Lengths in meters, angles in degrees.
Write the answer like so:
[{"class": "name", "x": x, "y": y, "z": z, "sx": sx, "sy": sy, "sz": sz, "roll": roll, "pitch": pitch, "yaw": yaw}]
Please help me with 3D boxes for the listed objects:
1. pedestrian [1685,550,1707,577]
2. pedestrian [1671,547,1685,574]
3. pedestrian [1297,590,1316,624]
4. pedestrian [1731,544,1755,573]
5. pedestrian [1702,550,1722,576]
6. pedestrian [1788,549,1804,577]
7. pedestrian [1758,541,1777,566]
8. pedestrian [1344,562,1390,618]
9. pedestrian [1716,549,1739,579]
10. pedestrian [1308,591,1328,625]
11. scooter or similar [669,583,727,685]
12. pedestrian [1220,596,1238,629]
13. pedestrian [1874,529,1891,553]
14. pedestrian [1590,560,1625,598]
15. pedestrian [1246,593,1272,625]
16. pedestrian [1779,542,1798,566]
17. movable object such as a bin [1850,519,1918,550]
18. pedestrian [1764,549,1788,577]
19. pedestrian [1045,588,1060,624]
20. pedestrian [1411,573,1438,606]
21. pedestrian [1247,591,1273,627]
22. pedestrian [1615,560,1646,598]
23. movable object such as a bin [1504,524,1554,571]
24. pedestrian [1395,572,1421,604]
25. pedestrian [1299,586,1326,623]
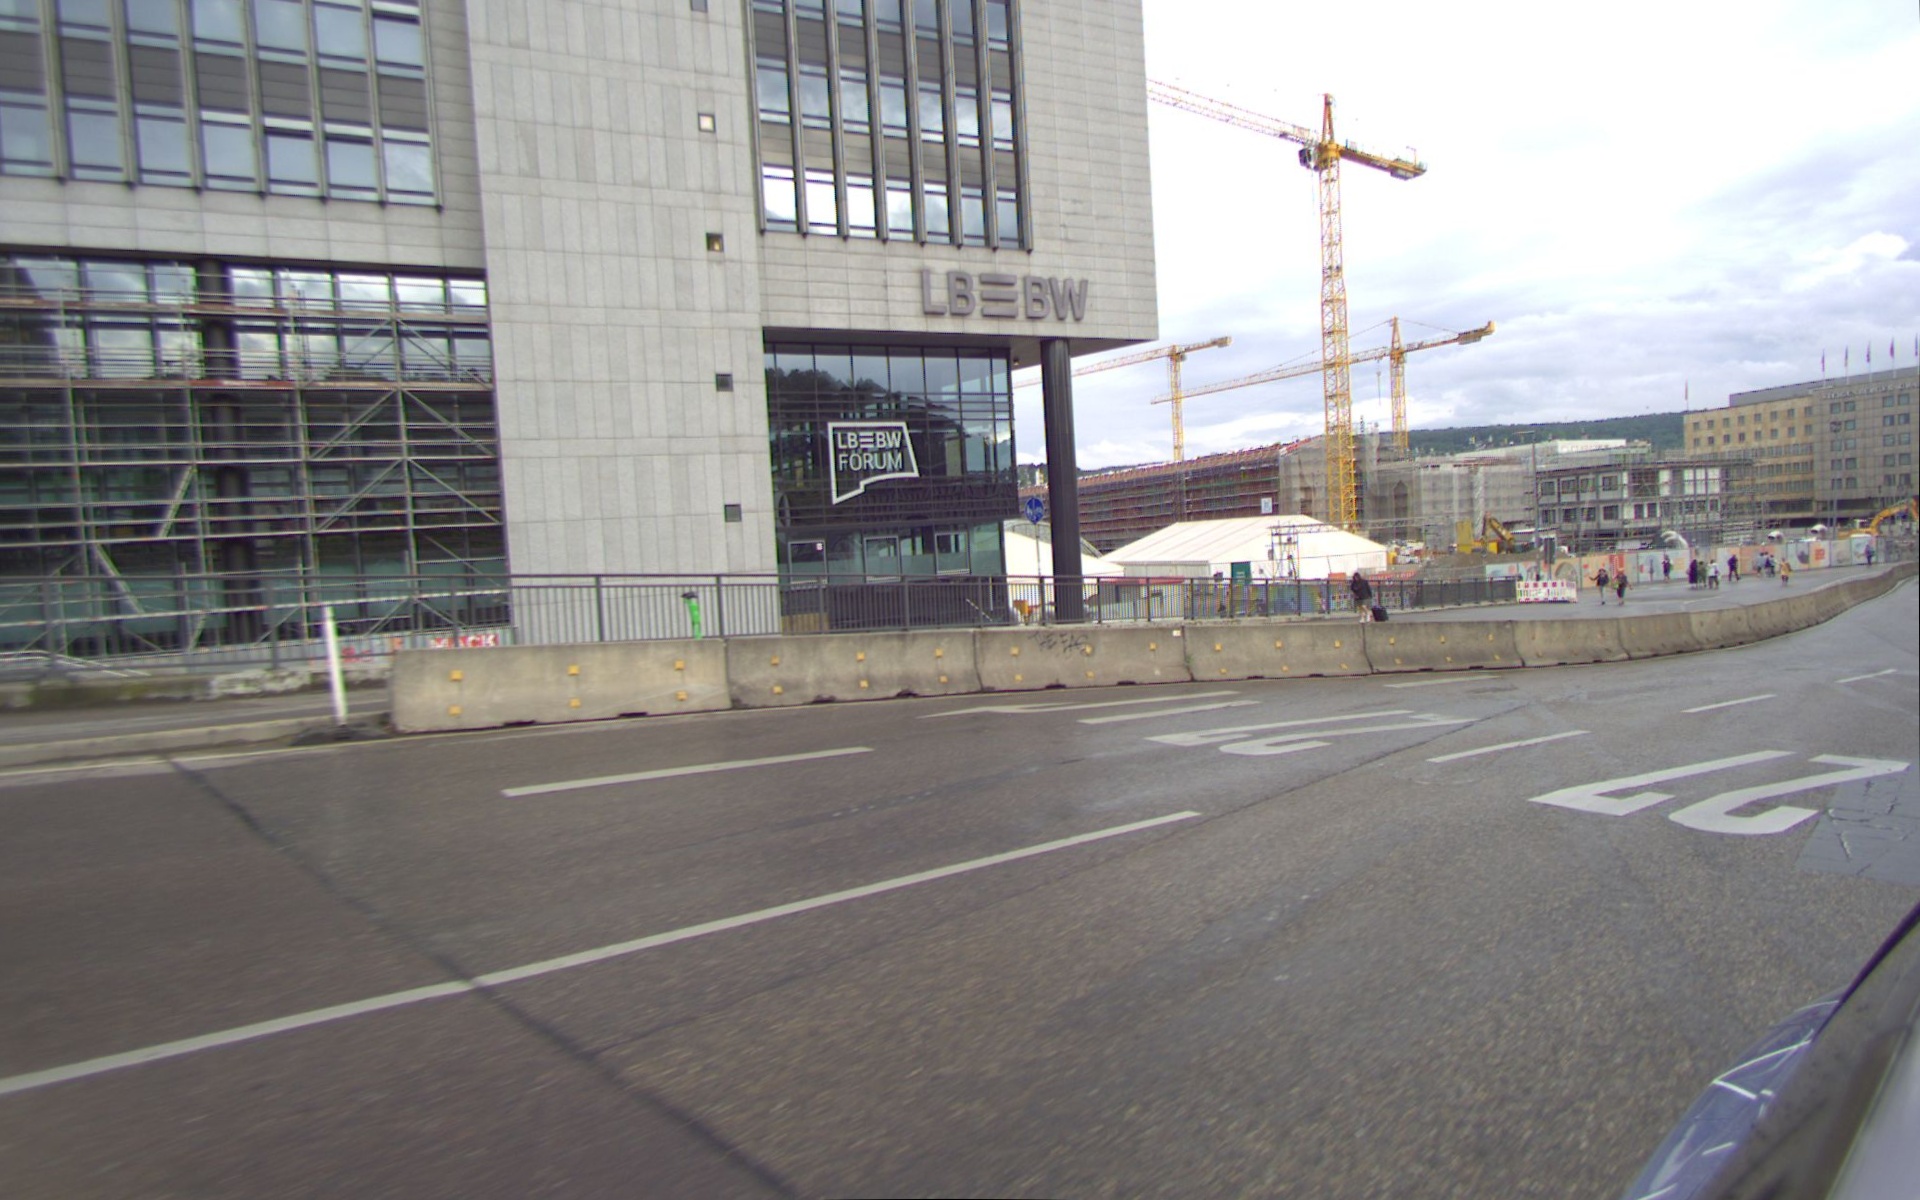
[{"class": "pedestrian", "x": 45.316, "y": -2.252, "z": 62.313, "sx": 0.988, "sy": 1.572, "sz": 0.718, "roll": -4, "pitch": 2, "yaw": -25}, {"class": "pedestrian", "x": 48.035, "y": -2.665, "z": 67.741, "sx": 0.485, "sy": 1.769, "sz": 0.569, "roll": -3, "pitch": 2, "yaw": -26}, {"class": "pedestrian", "x": 17.641, "y": 0.362, "z": 51.468, "sx": 0.738, "sy": 1.656, "sz": 0.587, "roll": -2, "pitch": 2, "yaw": 4}, {"class": "pedestrian", "x": 51.150, "y": -2.723, "z": 66.149, "sx": 0.988, "sy": 1.839, "sz": 0.870, "roll": -3, "pitch": 2, "yaw": -25}, {"class": "pedestrian", "x": 45.863, "y": -2.258, "z": 61.731, "sx": 0.867, "sy": 1.541, "sz": 0.612, "roll": -3, "pitch": 2, "yaw": -25}, {"class": "pedestrian", "x": 50.383, "y": -2.227, "z": 60.978, "sx": 0.893, "sy": 1.652, "sz": 0.647, "roll": -5, "pitch": 3, "yaw": -44}, {"class": "pedestrian", "x": 56.333, "y": -3.233, "z": 70.607, "sx": 0.750, "sy": 1.675, "sz": 0.650, "roll": -3, "pitch": 2, "yaw": -8}, {"class": "pedestrian", "x": 12.576, "y": -0.325, "z": 31.278, "sx": 1.038, "sy": 1.672, "sz": 0.733, "roll": -2, "pitch": 2, "yaw": -17}, {"class": "pedestrian", "x": 46.505, "y": -2.189, "z": 61.330, "sx": 0.873, "sy": 1.743, "sz": 0.781, "roll": -3, "pitch": 2, "yaw": -25}, {"class": "pedestrian", "x": 17.907, "y": 0.382, "z": 50.572, "sx": 0.757, "sy": 1.656, "sz": 0.604, "roll": -2, "pitch": 2, "yaw": 4}, {"class": "scooter or similar", "x": -3.150, "y": 0.399, "z": 12.164, "sx": 0.561, "sy": 1.177, "sz": 0.350, "roll": -3, "pitch": 2, "yaw": -29}, {"class": "pedestrian", "x": 13.724, "y": 0.623, "z": 51.612, "sx": 0.554, "sy": 1.635, "sz": 0.708, "roll": -3, "pitch": 2, "yaw": -11}, {"class": "pedestrian", "x": 69.001, "y": -4.405, "z": 75.689, "sx": 0.673, "sy": 1.726, "sz": 0.748, "roll": -4, "pitch": 4, "yaw": -30}, {"class": "pedestrian", "x": 28.689, "y": -0.923, "z": 44.826, "sx": 0.932, "sy": 1.612, "sz": 0.865, "roll": -3, "pitch": 2, "yaw": -16}, {"class": "pedestrian", "x": 15.930, "y": 0.468, "z": 53.874, "sx": 0.987, "sy": 1.656, "sz": 0.871, "roll": -3, "pitch": 2, "yaw": -15}, {"class": "pedestrian", "x": 57.092, "y": -3.157, "z": 69.716, "sx": 0.750, "sy": 1.572, "sz": 0.650, "roll": -3, "pitch": 2, "yaw": -8}, {"class": "movable object such as a bin", "x": 83.224, "y": -5.860, "z": 91.190, "sx": 4.063, "sy": 2.566, "sz": 1.995, "roll": -2, "pitch": 2, "yaw": 12}, {"class": "pedestrian", "x": 55.269, "y": -2.511, "z": 68.537, "sx": 0.913, "sy": 1.871, "sz": 0.822, "roll": -3, "pitch": 2, "yaw": -8}, {"class": "pedestrian", "x": 4.898, "y": 0.314, "z": 53.568, "sx": 0.632, "sy": 1.837, "sz": 0.753, "roll": -2, "pitch": 2, "yaw": 15}, {"class": "pedestrian", "x": 25.653, "y": -0.581, "z": 55.871, "sx": 0.987, "sy": 1.746, "sz": 0.871, "roll": -3, "pitch": 2, "yaw": -15}, {"class": "pedestrian", "x": 15.645, "y": 0.460, "z": 52.730, "sx": 0.987, "sy": 1.805, "sz": 0.775, "roll": -3, "pitch": 2, "yaw": -15}, {"class": "pedestrian", "x": 29.289, "y": -0.919, "z": 44.207, "sx": 0.788, "sy": 1.594, "sz": 0.736, "roll": -3, "pitch": 2, "yaw": -16}, {"class": "movable object such as a bin", "x": 44.893, "y": -4.154, "z": 79.811, "sx": 4.154, "sy": 3.450, "sz": 1.942, "roll": -4, "pitch": 3, "yaw": -37}, {"class": "pedestrian", "x": 25.240, "y": -0.675, "z": 57.049, "sx": 0.987, "sy": 1.709, "sz": 0.871, "roll": -3, "pitch": 2, "yaw": -15}, {"class": "pedestrian", "x": 18.305, "y": 0.215, "z": 52.563, "sx": 0.987, "sy": 1.803, "sz": 0.871, "roll": -3, "pitch": 2, "yaw": -15}]
